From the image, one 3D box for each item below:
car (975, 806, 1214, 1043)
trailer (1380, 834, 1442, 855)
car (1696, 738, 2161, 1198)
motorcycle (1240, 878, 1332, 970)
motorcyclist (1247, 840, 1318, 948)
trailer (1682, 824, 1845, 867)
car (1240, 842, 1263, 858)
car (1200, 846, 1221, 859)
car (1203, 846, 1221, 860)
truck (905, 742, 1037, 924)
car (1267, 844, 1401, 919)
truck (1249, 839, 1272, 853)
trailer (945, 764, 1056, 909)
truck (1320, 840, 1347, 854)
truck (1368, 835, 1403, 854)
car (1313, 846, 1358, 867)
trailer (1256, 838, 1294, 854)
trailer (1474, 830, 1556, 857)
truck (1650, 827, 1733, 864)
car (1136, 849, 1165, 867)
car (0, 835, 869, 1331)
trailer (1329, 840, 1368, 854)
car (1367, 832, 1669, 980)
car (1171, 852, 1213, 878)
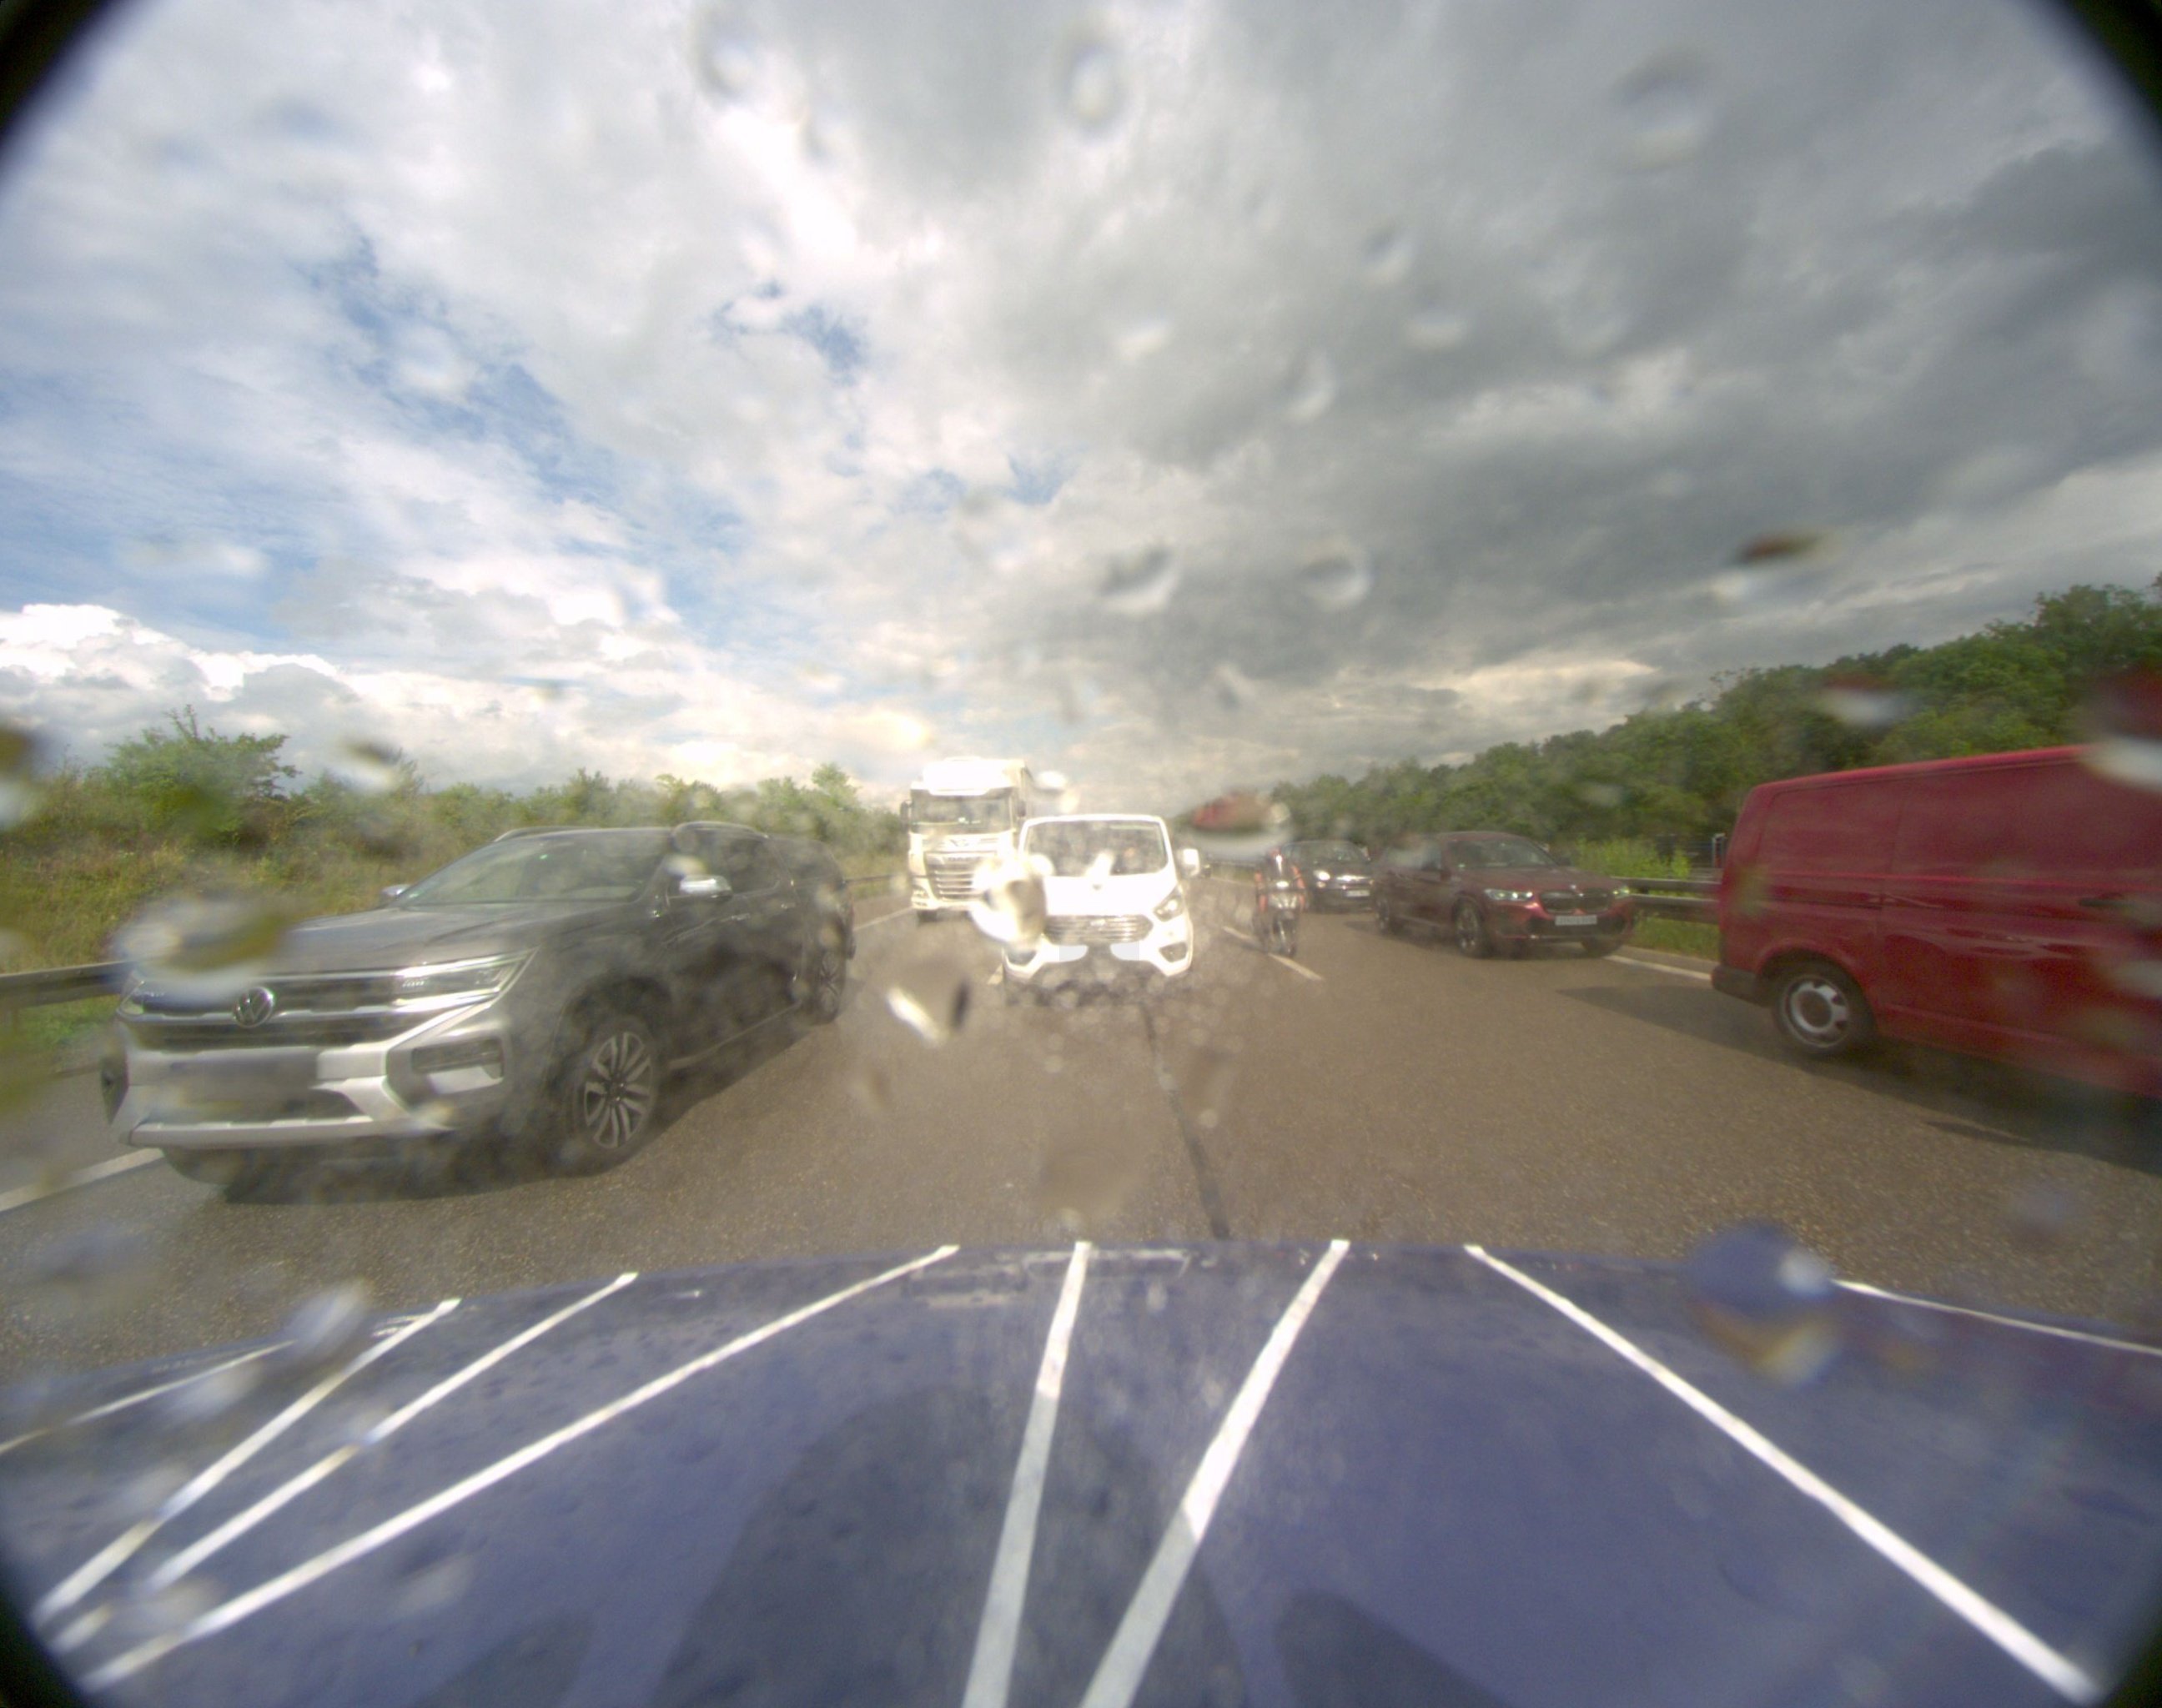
[{"bbox_3d":[0.154,0.595,9.105,1.985,1.973,5.168,-2,0,1],"label":"car"},{"bbox_3d":[53.857,-1.548,124.568,3.085,3.253,13.401,0,1,-6],"label":"trailer"},{"bbox_3d":[5.558,0.460,3.330,1.895,1.973,4.750,-2,0,1],"label":"car"},{"bbox_3d":[2.854,0.938,10.800,0.677,1.080,1.981,-2,1,-2],"label":"motorcycle"},{"bbox_3d":[2.841,0.532,10.777,0.672,1.434,1.019,-2,1,-2],"label":"motorcyclist"},{"bbox_3d":[57.199,-0.732,64.450,2.611,3.253,12.647,0,1,1],"label":"trailer"},{"bbox_3d":[22.085,-0.510,98.488,1.998,2.002,3.999,-2,1,1],"label":"car"},{"bbox_3d":[15.280,-0.150,89.661,1.806,1.445,4.000,-1,1,1],"label":"car"},{"bbox_3d":[19.706,-0.142,114.550,1.999,2.002,3.999,0,1,-1],"label":"car"},{"bbox_3d":[-2.656,-0.484,19.997,2.460,4.080,5.332,-2,0,1],"label":"truck"},{"bbox_3d":[5.888,0.565,18.241,1.895,1.558,4.053,-2,1,1],"label":"car"},{"bbox_3d":[42.883,-1.907,181.929,2.700,3.462,6.332,0,1,-13],"label":"truck"},{"bbox_3d":[-2.515,-0.579,27.928,2.451,4.095,12.215,-2,1,1],"label":"trailer"},{"bbox_3d":[49.812,-1.378,150.015,2.522,2.556,5.982,-2,1,-10],"label":"truck"},{"bbox_3d":[53.048,-1.653,132.436,3.082,3.237,6.093,0,1,-6],"label":"truck"},{"bbox_3d":[18.594,0.161,55.692,1.998,1.445,4.000,-1,1,1],"label":"car"},{"bbox_3d":[44.513,-1.845,175.052,2.707,3.492,13.404,0,1,-13],"label":"trailer"},{"bbox_3d":[56.396,-1.319,99.360,3.193,3.253,12.644,0,1,-2],"label":"trailer"},{"bbox_3d":[57.262,-0.813,71.458,2.582,3.232,6.535,0,1,1],"label":"truck"},{"bbox_3d":[5.361,0.281,58.997,1.888,1.228,4.506,-2,0,1],"label":"car"},{"bbox_3d":[-3.237,0.824,5.434,1.831,1.793,5.305,-1,1,1],"label":"car"},{"bbox_3d":[50.773,-1.321,144.625,2.537,2.559,9.869,-2,1,-10],"label":"trailer"},{"bbox_3d":[5.864,0.578,10.934,1.895,1.660,4.294,-2,1,1],"label":"car"},{"bbox_3d":[5.874,0.564,40.553,1.675,1.228,4.000,-2,0,1],"label":"car"}]
